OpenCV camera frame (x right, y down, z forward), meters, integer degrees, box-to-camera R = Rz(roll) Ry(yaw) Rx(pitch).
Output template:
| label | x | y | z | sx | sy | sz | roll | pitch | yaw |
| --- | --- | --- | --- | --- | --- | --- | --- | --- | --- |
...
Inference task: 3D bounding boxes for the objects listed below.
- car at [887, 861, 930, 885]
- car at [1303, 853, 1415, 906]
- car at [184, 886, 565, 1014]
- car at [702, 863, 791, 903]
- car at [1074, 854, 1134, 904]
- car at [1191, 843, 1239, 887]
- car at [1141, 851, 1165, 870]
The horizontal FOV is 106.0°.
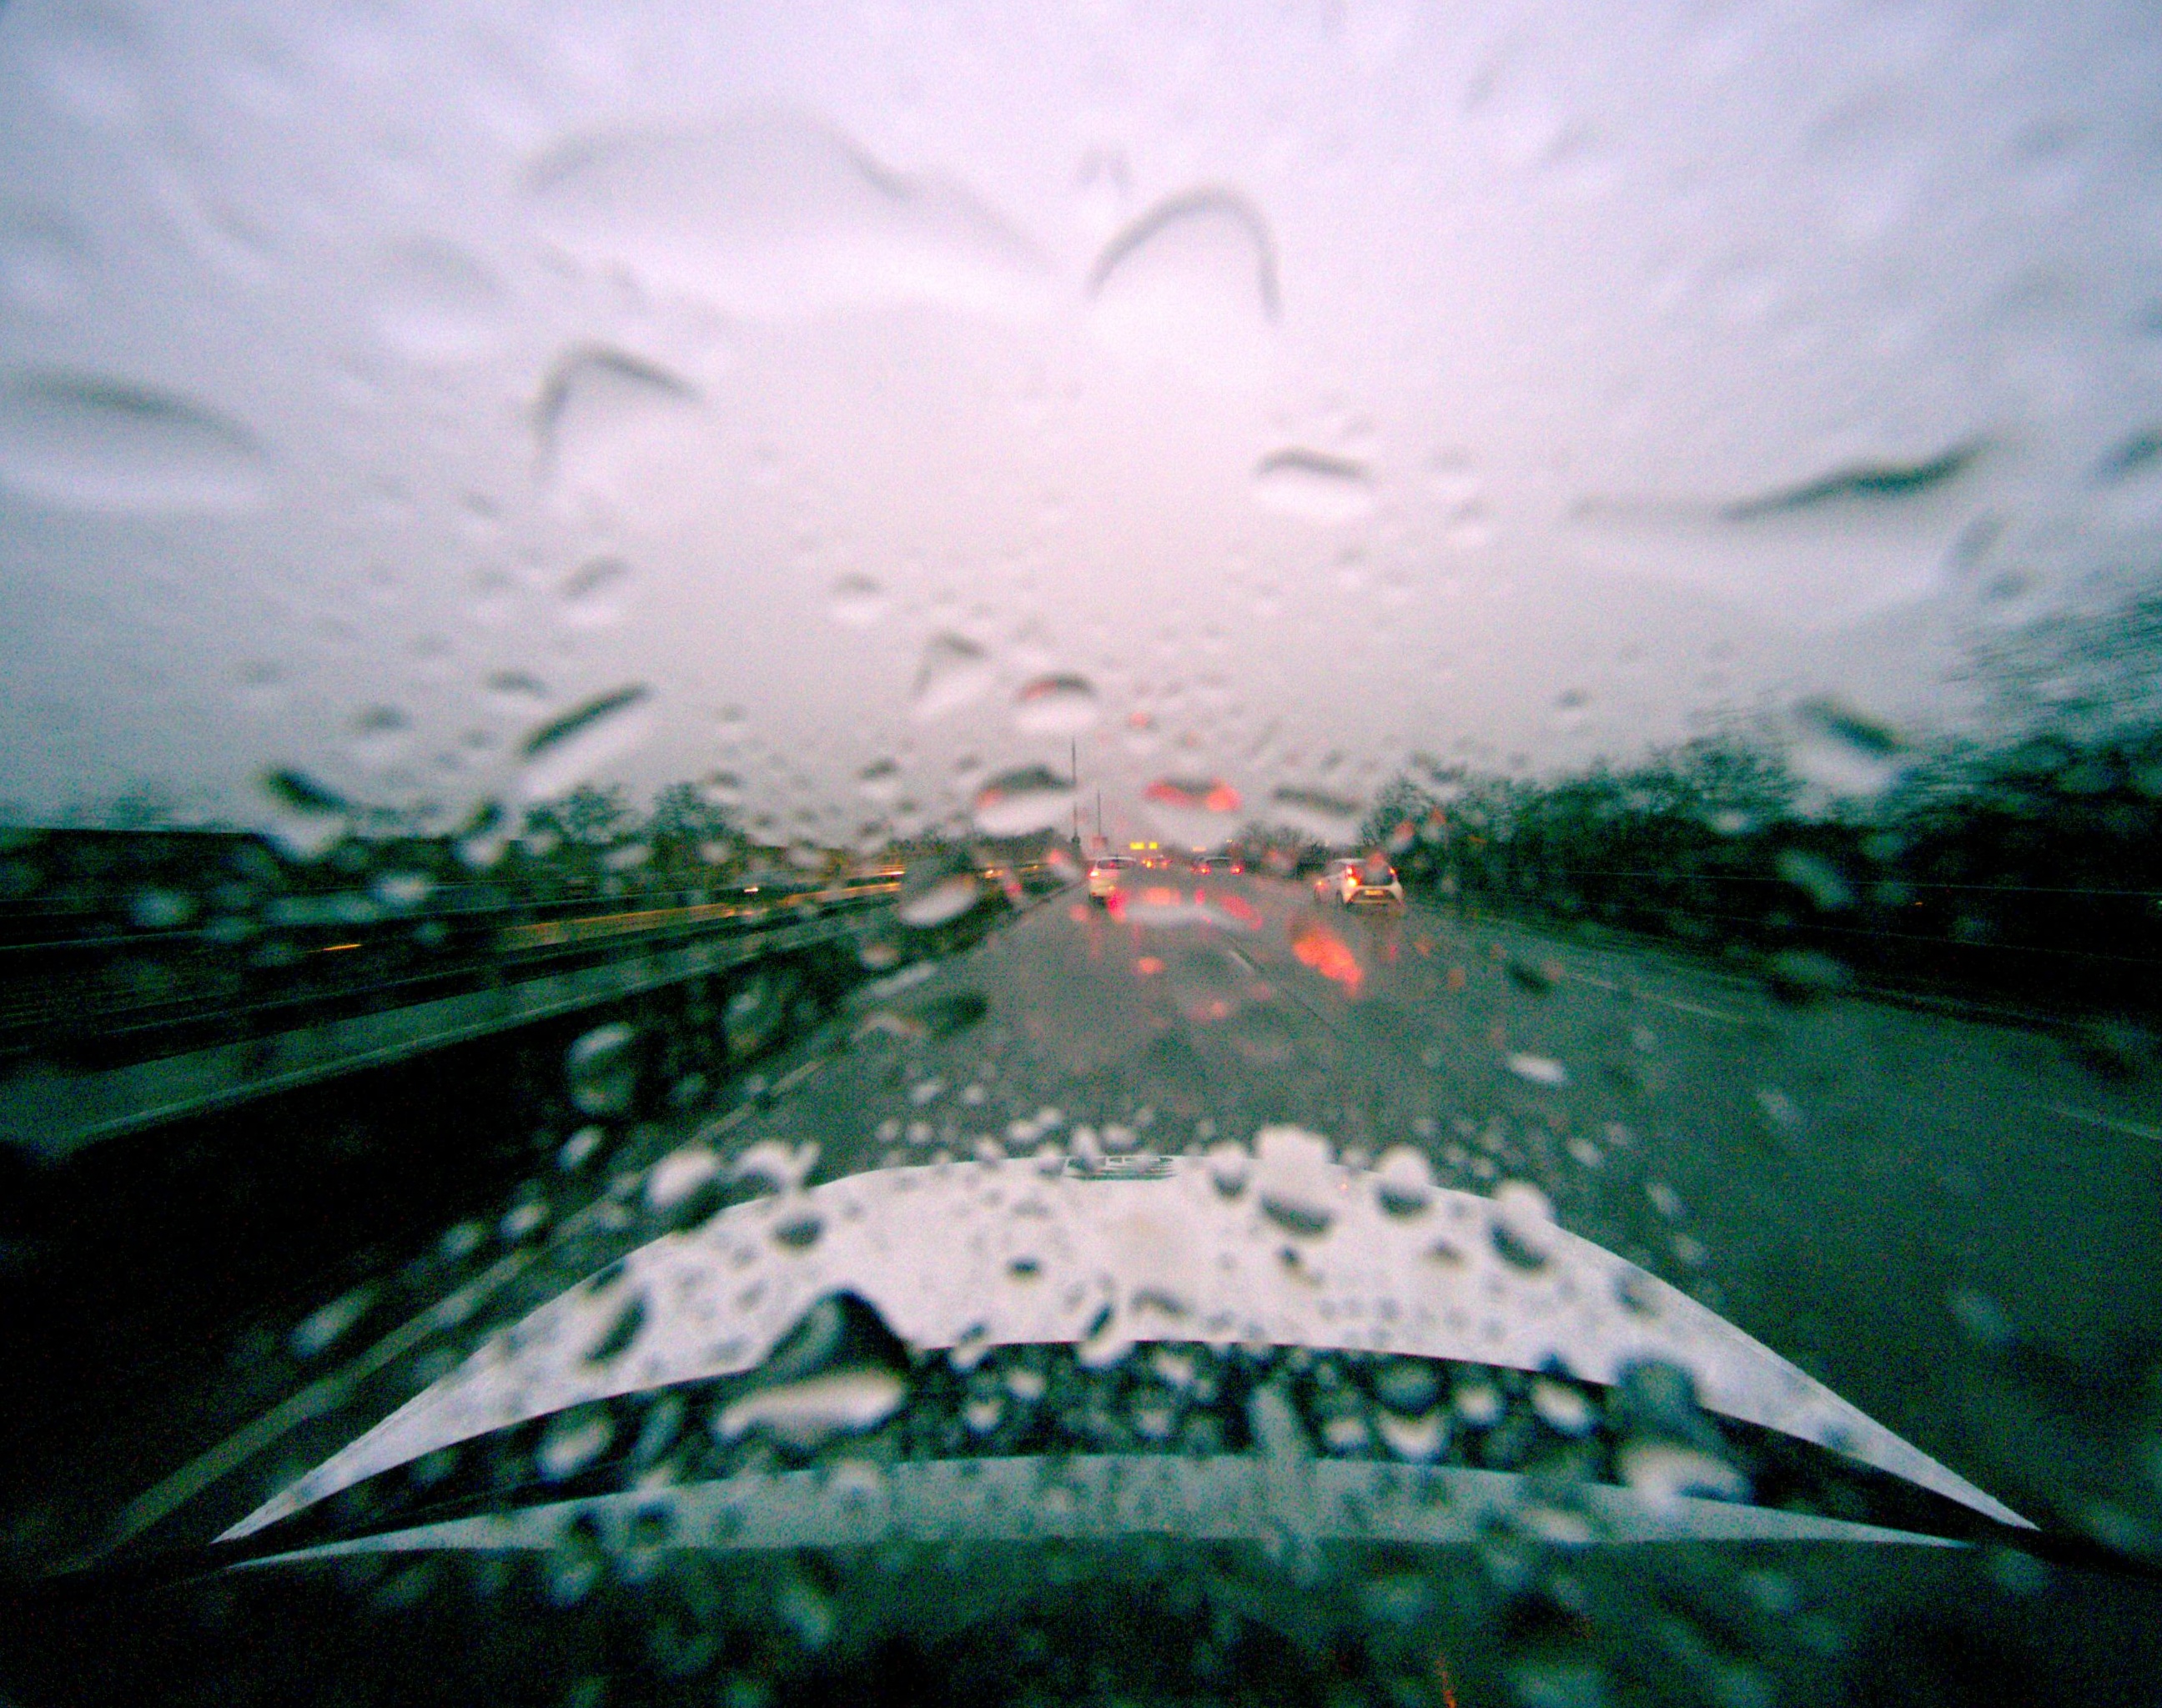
| label | x | y | z | sx | sy | sz | roll | pitch | yaw |
| --- | --- | --- | --- | --- | --- | --- | --- | --- | --- |
| car | -11.565 | 1.252 | 54.861 | 1.887 | 1.464 | 4.001 | -2 | 0 | 1 |
| car | 7.909 | 0.667 | 23.561 | 1.986 | 1.345 | 4.002 | -1 | 0 | 2 |
| car | -11.027 | 1.386 | 13.352 | 1.887 | 1.464 | 4.832 | -2 | 0 | 2 |
| car | -13.750 | 1.139 | 33.727 | 1.887 | 1.464 | 4.001 | -2 | 0 | 1 |
| car | 0.828 | 0.753 | 26.668 | 1.716 | 1.440 | 4.230 | -2 | 0 | 4 |
| car | 5.860 | 0.434 | 35.955 | 1.887 | 1.767 | 4.317 | -2 | 0 | 7 |
| car | 6.111 | 0.566 | 69.584 | 1.783 | 1.545 | 4.001 | -1 | 0 | 1 |
